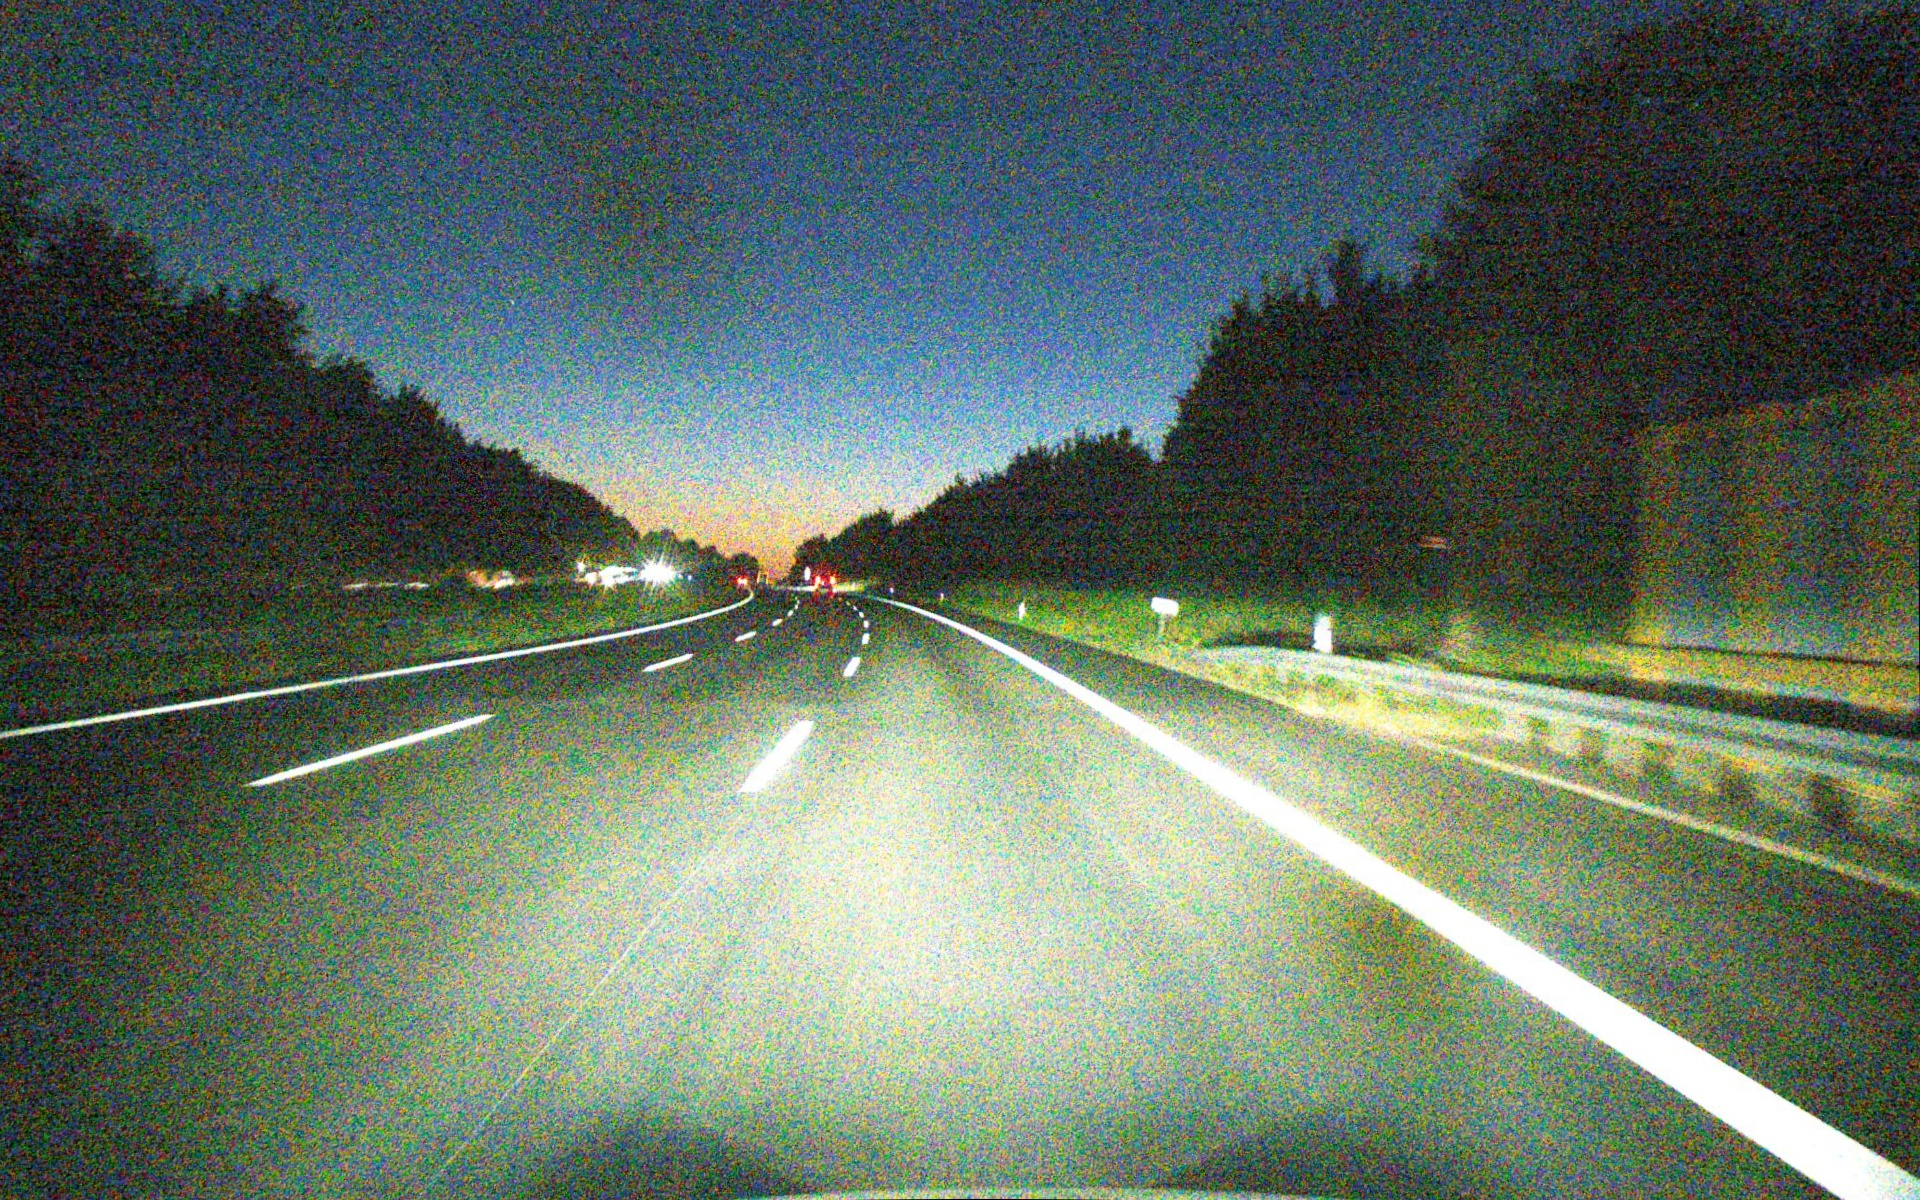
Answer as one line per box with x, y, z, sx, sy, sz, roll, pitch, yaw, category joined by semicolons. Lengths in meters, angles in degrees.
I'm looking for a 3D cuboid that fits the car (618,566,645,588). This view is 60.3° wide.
-29.171;-2.025;146.905;1.955;1.886;4.073;1;1;-5;car

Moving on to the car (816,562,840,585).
-16.142;-3.276;202.459;2.480;2.597;6.041;3;0;-8;car
